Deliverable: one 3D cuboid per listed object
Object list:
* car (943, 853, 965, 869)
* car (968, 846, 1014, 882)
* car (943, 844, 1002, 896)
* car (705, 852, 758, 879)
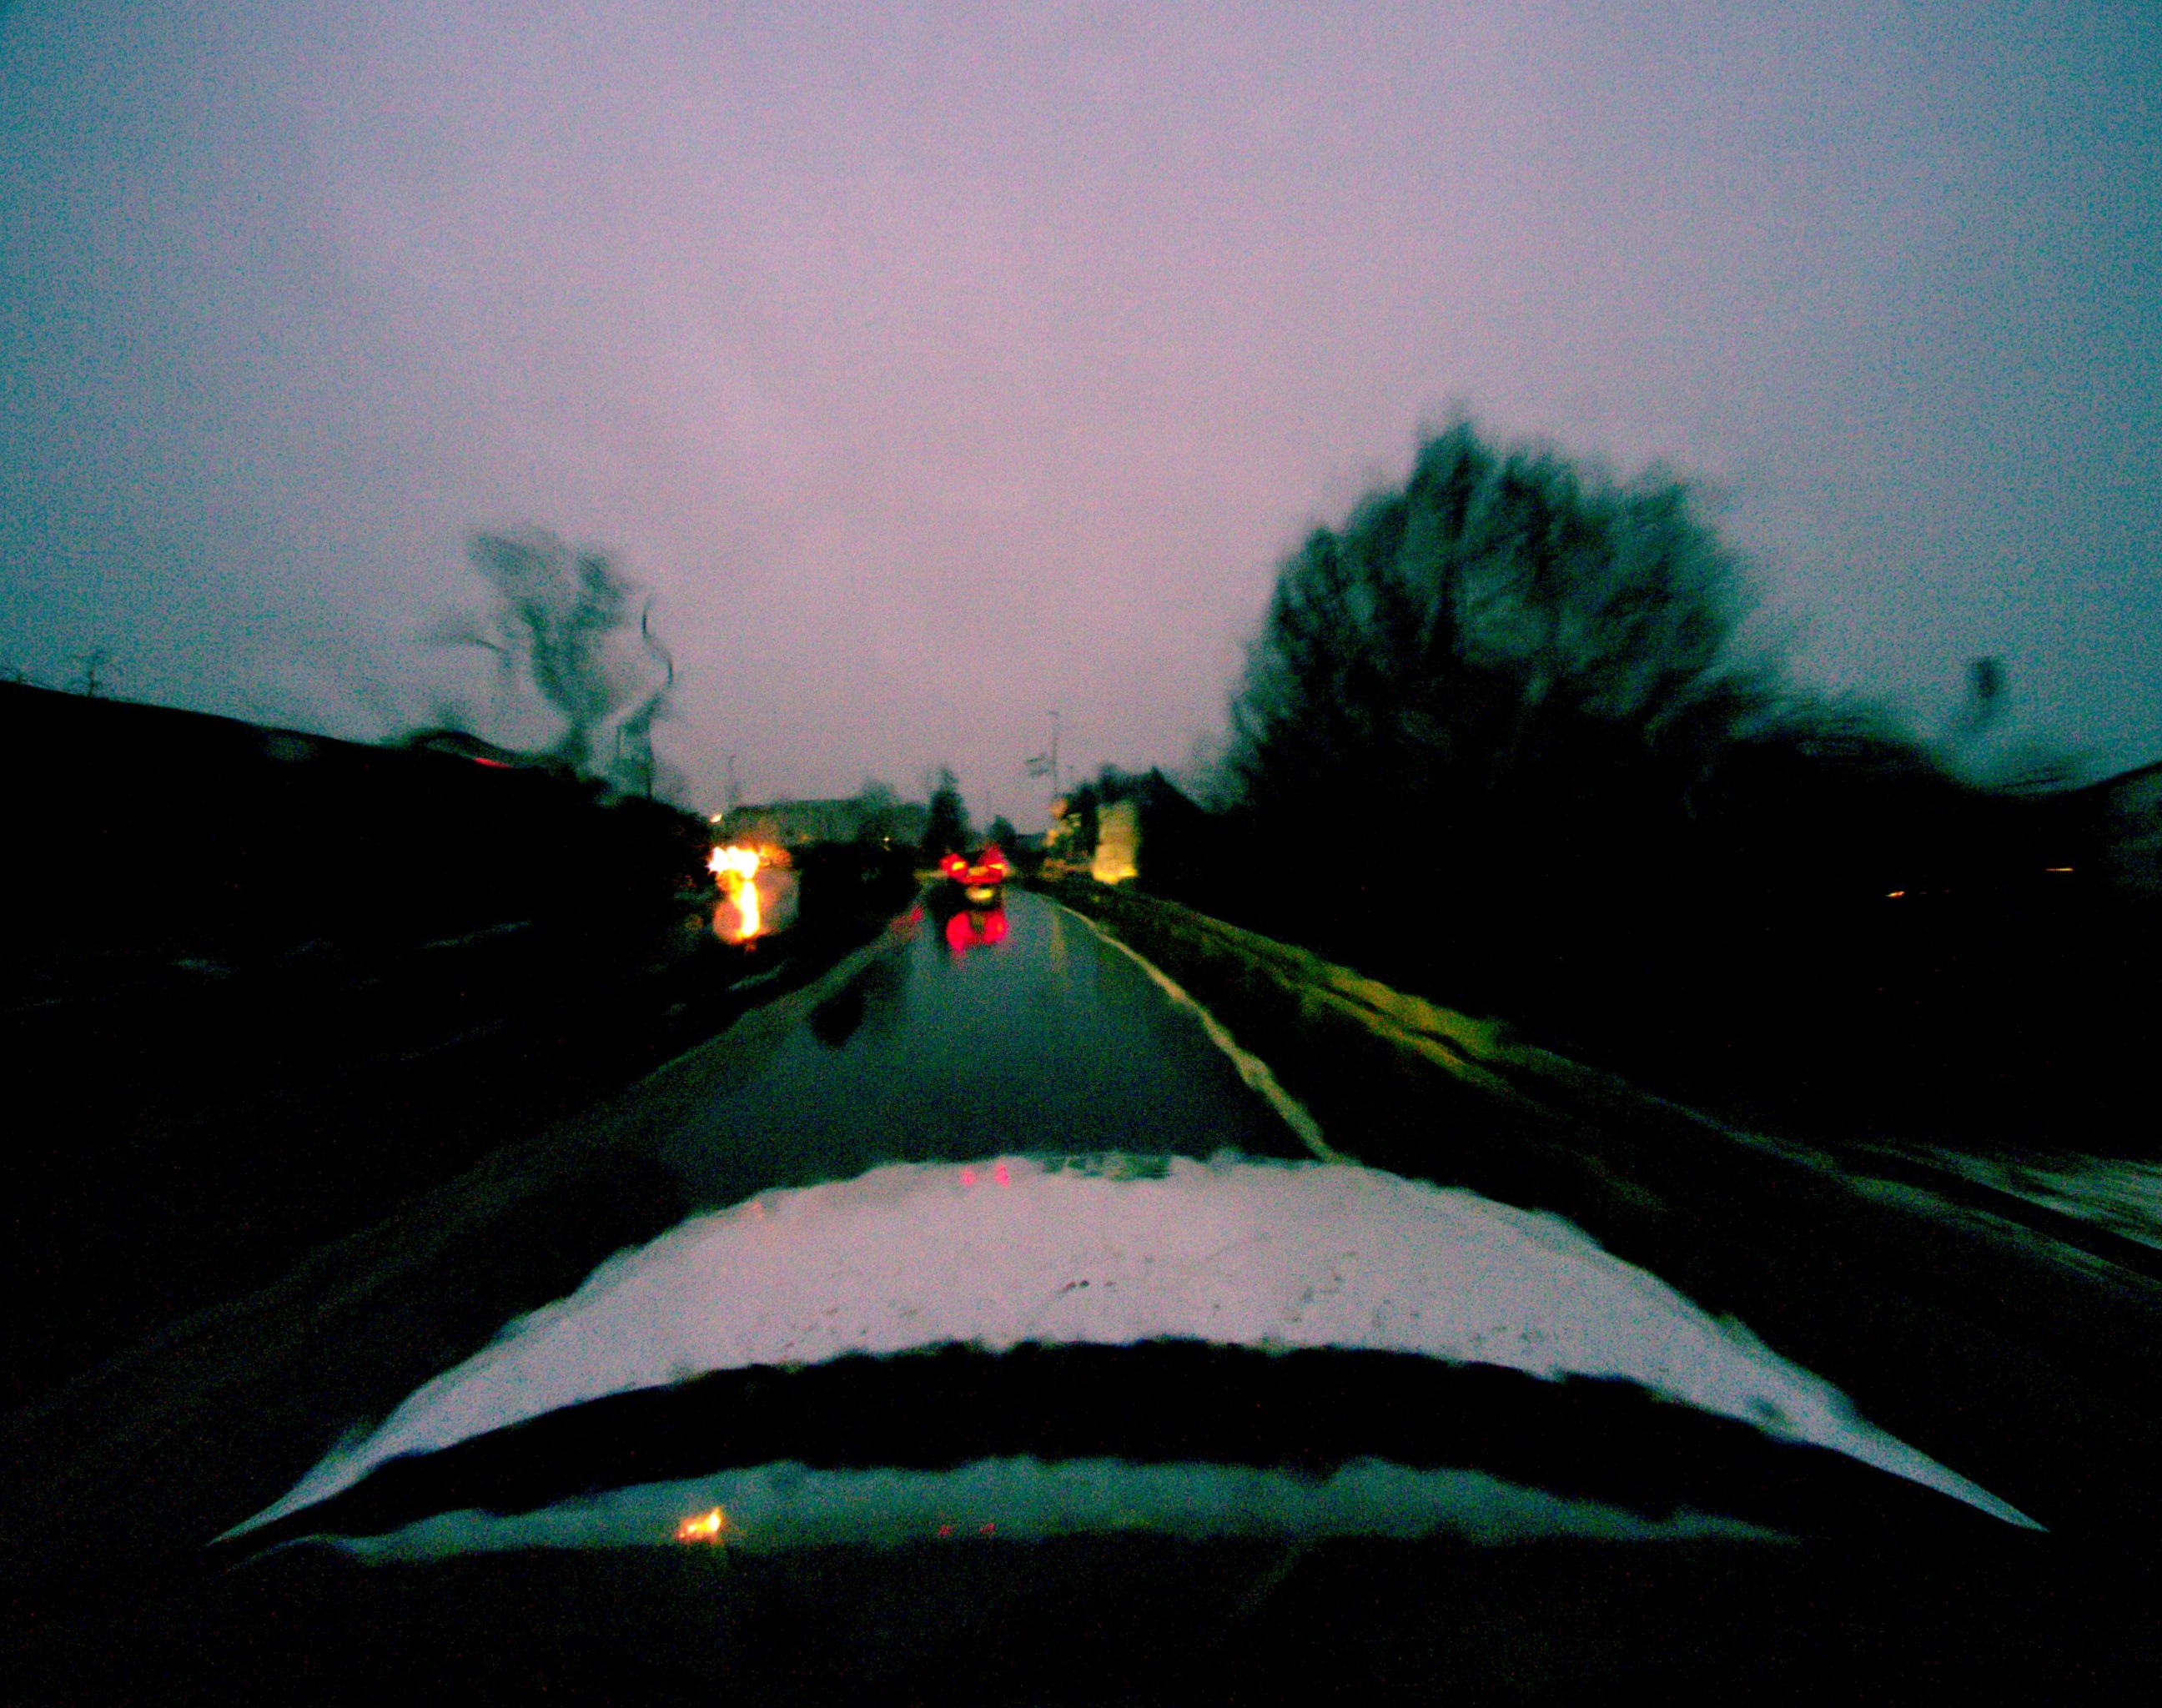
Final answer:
[{"bbox_3d":[-12.810,0.753,82.079,1.776,1.544,3.978,0,-1,-16],"label":"car"},{"bbox_3d":[-4.738,0.475,42.284,2.163,1.689,4.558,0,1,-9],"label":"car"},{"bbox_3d":[-3.876,0.558,29.263,1.943,1.718,3.990,1,0,-7],"label":"car"},{"bbox_3d":[-19.559,0.627,45.494,1.621,1.469,3.641,0,0,-42],"label":"car"}]
